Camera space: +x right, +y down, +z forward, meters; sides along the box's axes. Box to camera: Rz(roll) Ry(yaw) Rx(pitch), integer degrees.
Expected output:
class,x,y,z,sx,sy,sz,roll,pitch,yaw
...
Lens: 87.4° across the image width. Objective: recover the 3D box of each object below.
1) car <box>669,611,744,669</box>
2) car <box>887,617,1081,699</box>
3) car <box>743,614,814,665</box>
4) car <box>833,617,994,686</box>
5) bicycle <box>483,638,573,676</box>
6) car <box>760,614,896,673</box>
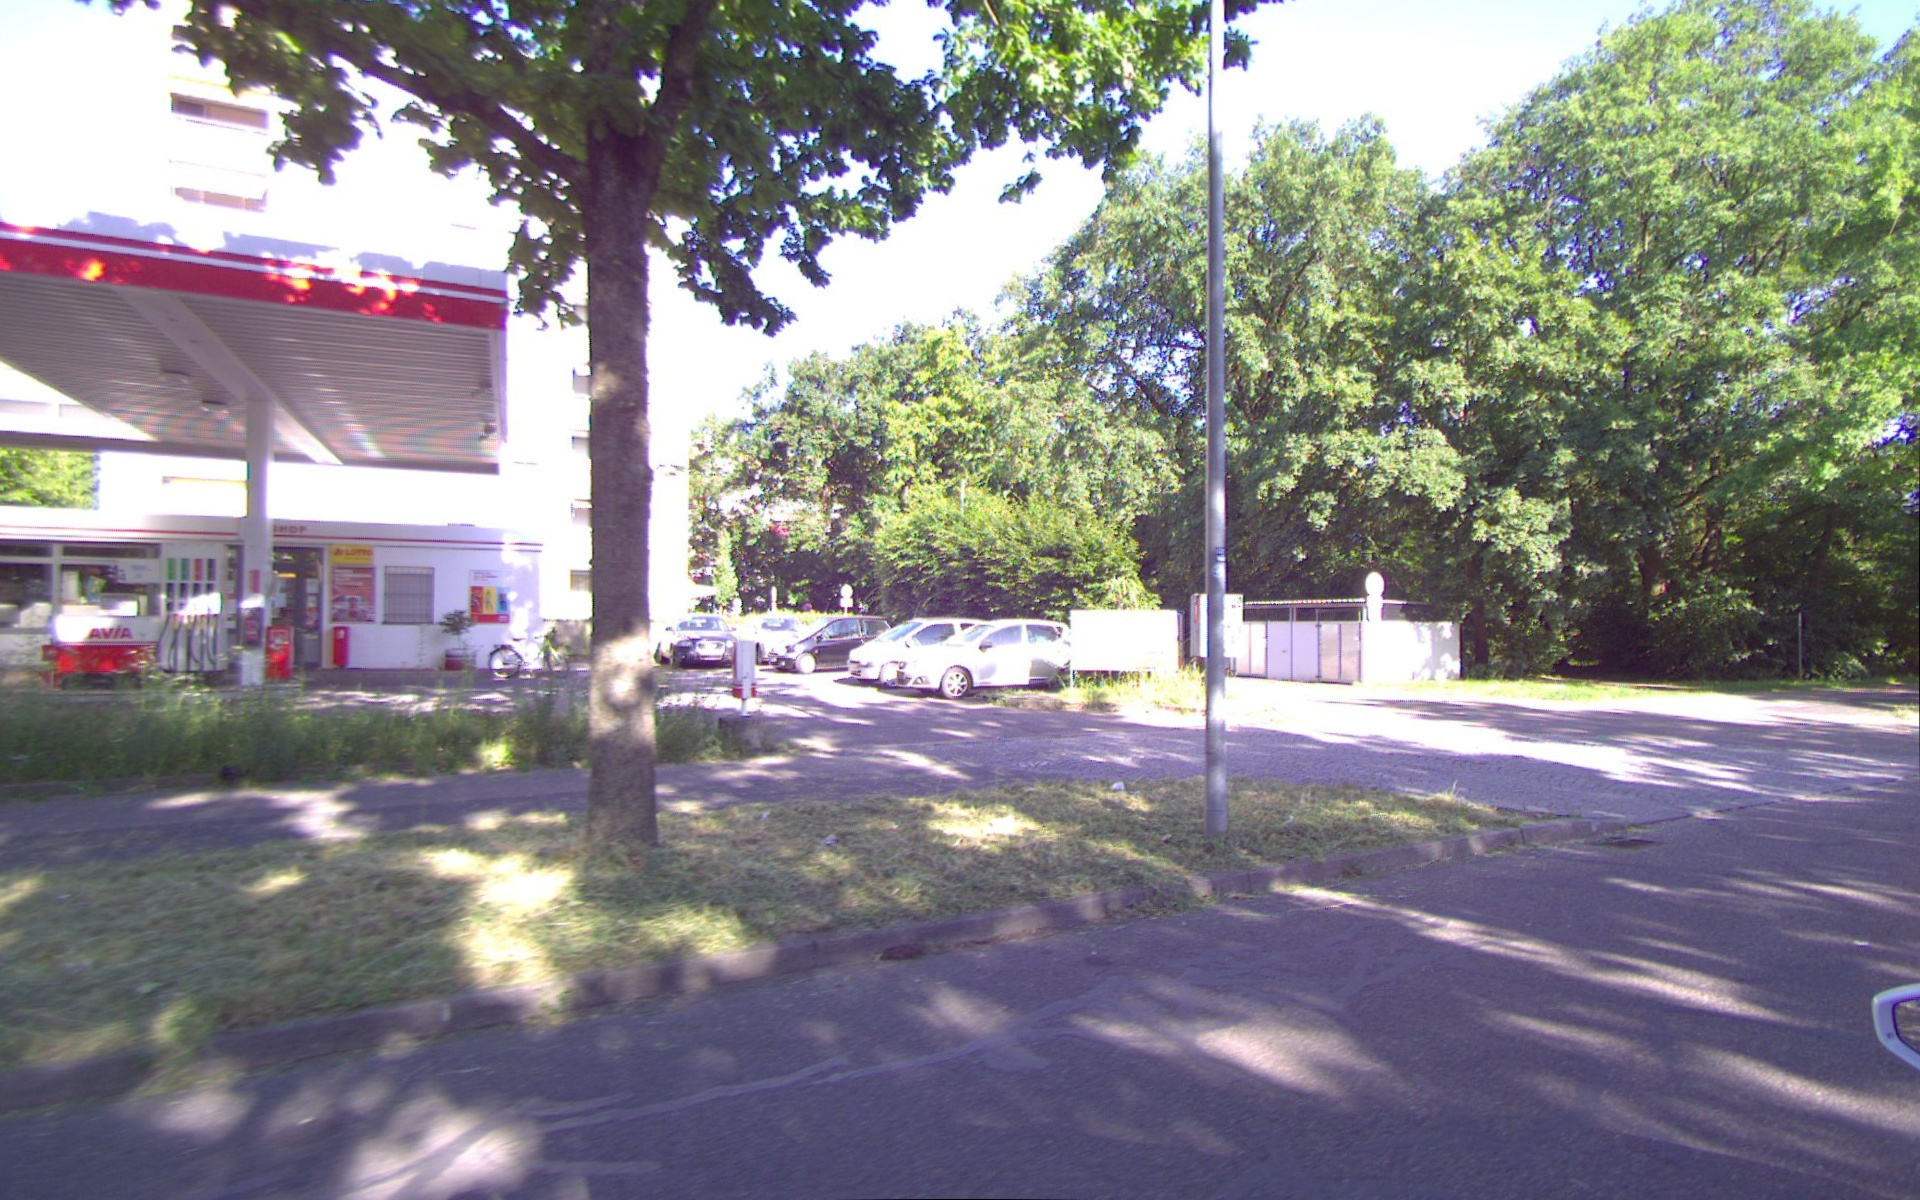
class,x,y,z,sx,sy,sz,roll,pitch,yaw
car,-7.003,1.063,27.580,1.562,1.419,3.188,1,0,-22
car,0.457,1.082,19.478,3.437,1.441,1.543,1,0,-23
car,-5.359,1.131,29.439,1.438,1.335,3.188,1,0,-22
car,-1.006,1.085,21.645,3.159,1.386,1.419,1,0,-23
bicycle,-9.579,1.259,22.338,1.750,0.818,0.617,1,-1,-16
car,-3.356,1.090,25.528,3.159,1.386,1.419,1,0,-23
